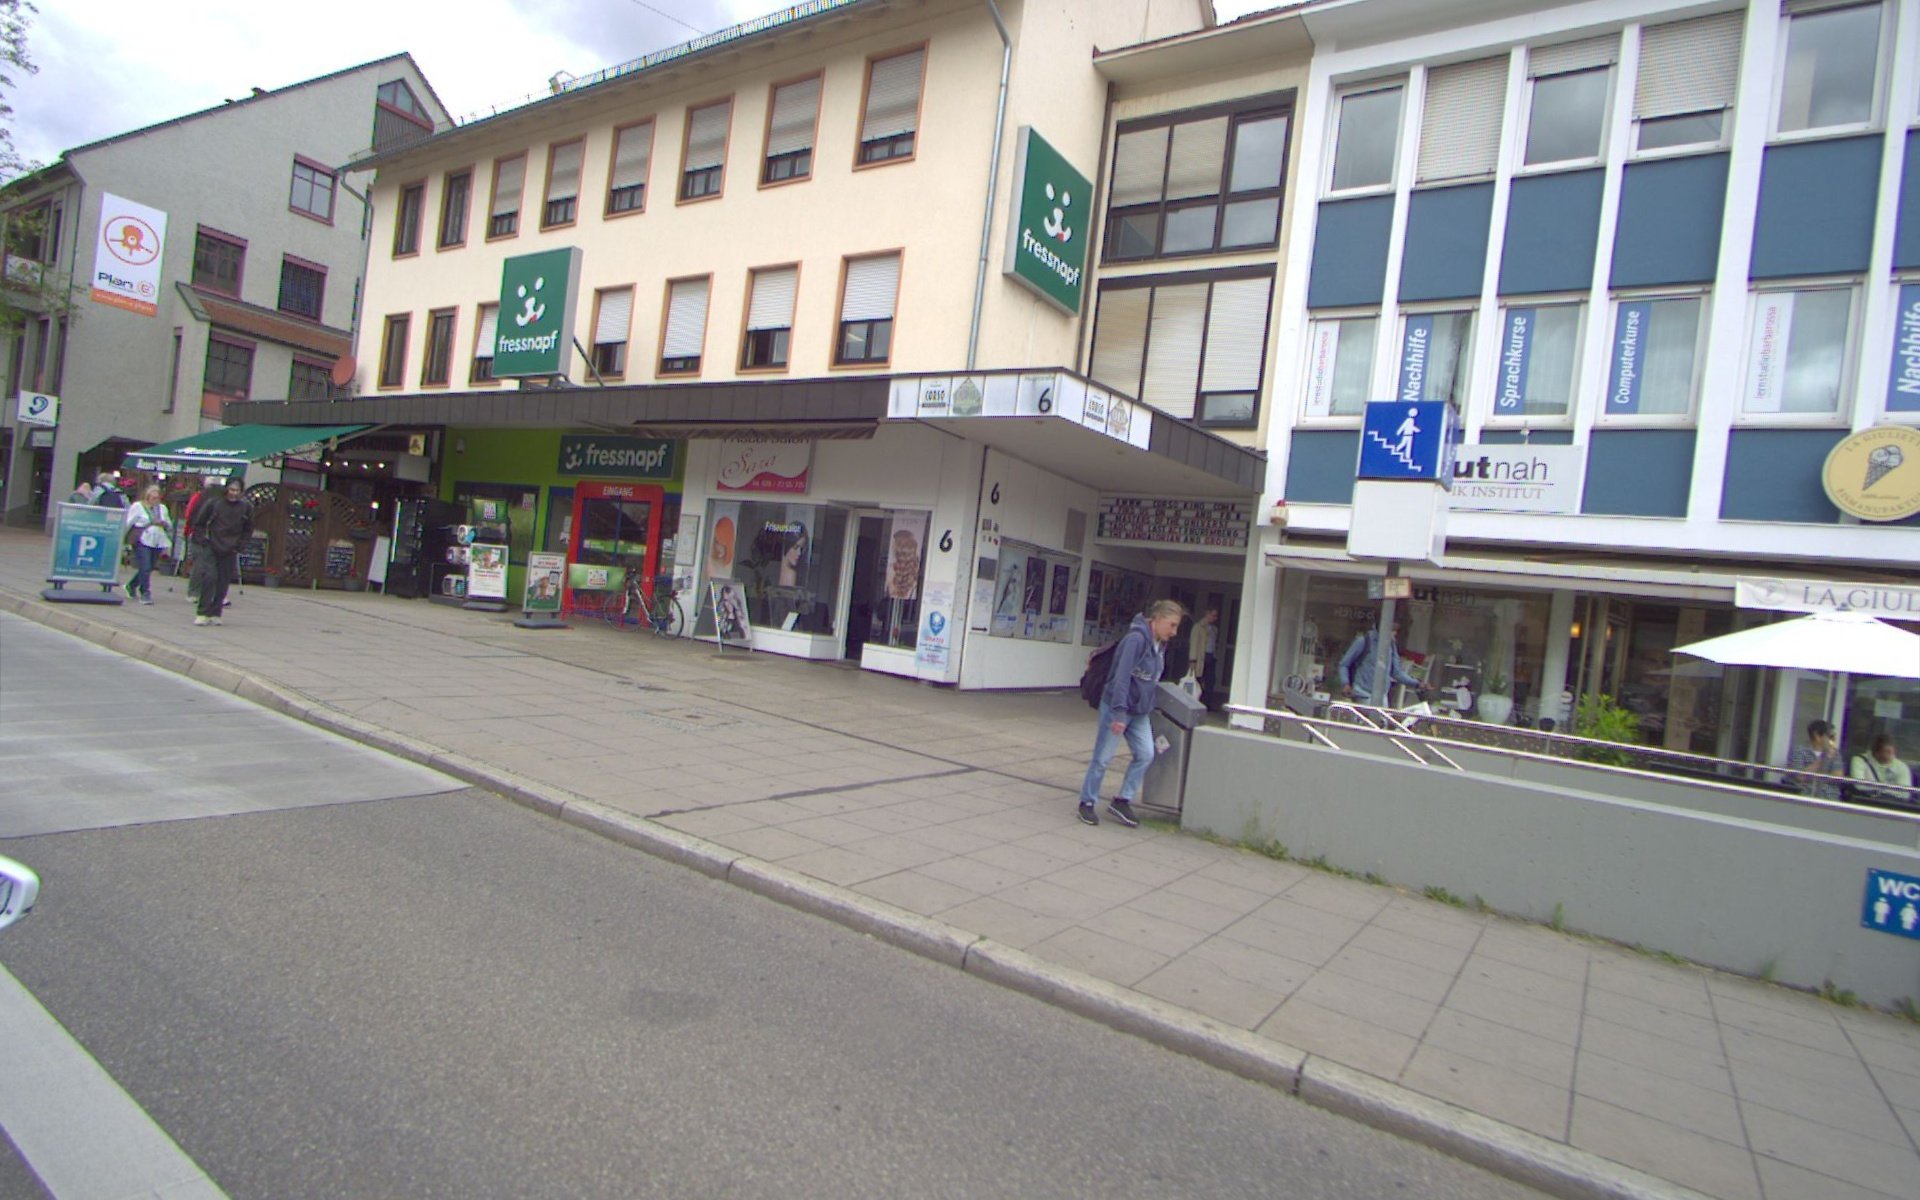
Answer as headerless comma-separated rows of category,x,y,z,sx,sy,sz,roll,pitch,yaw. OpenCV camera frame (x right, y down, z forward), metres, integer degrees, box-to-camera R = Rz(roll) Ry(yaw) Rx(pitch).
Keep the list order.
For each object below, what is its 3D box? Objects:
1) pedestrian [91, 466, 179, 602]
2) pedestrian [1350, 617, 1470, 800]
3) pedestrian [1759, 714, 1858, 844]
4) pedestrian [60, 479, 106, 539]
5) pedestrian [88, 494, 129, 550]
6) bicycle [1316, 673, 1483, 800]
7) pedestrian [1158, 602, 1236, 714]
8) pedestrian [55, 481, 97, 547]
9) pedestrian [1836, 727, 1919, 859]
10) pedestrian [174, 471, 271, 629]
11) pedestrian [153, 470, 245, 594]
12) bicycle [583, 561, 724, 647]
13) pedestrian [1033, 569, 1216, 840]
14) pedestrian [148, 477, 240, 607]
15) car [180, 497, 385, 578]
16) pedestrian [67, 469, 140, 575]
pedestrian,-10.687,-0.845,13.039,0.605,1.655,0.613,7,1,31
pedestrian,4.485,1.061,10.021,0.788,1.655,0.666,8,1,35
pedestrian,8.950,1.874,10.634,0.578,1.233,0.614,8,-2,31
pedestrian,-26.347,-2.741,30.240,0.604,1.654,0.727,8,1,25
pedestrian,-23.046,-2.111,27.231,0.605,1.392,0.586,8,0,36
bicycle,4.291,1.309,9.868,1.365,0.986,0.273,8,1,34
pedestrian,3.772,0.918,15.985,0.839,1.655,0.688,8,1,31
pedestrian,-23.814,-2.312,27.110,0.605,1.654,0.586,8,1,35
pedestrian,9.696,1.999,10.522,0.578,1.235,0.614,8,0,31
pedestrian,-8.443,-0.562,11.514,0.605,1.699,0.612,8,1,36
pedestrian,-11.506,-1.019,15.217,0.768,1.764,0.796,6,2,28
bicycle,-4.899,0.054,16.003,2.312,1.076,0.741,7,1,32
pedestrian,1.127,0.683,6.880,0.839,1.655,0.688,8,1,32
pedestrian,-10.359,-0.772,13.614,0.605,1.655,0.719,7,1,31
car,-20.051,-1.818,29.946,1.852,1.639,4.605,7,-1,37
pedestrian,-15.080,-1.366,17.711,0.768,1.764,0.683,6,2,29
